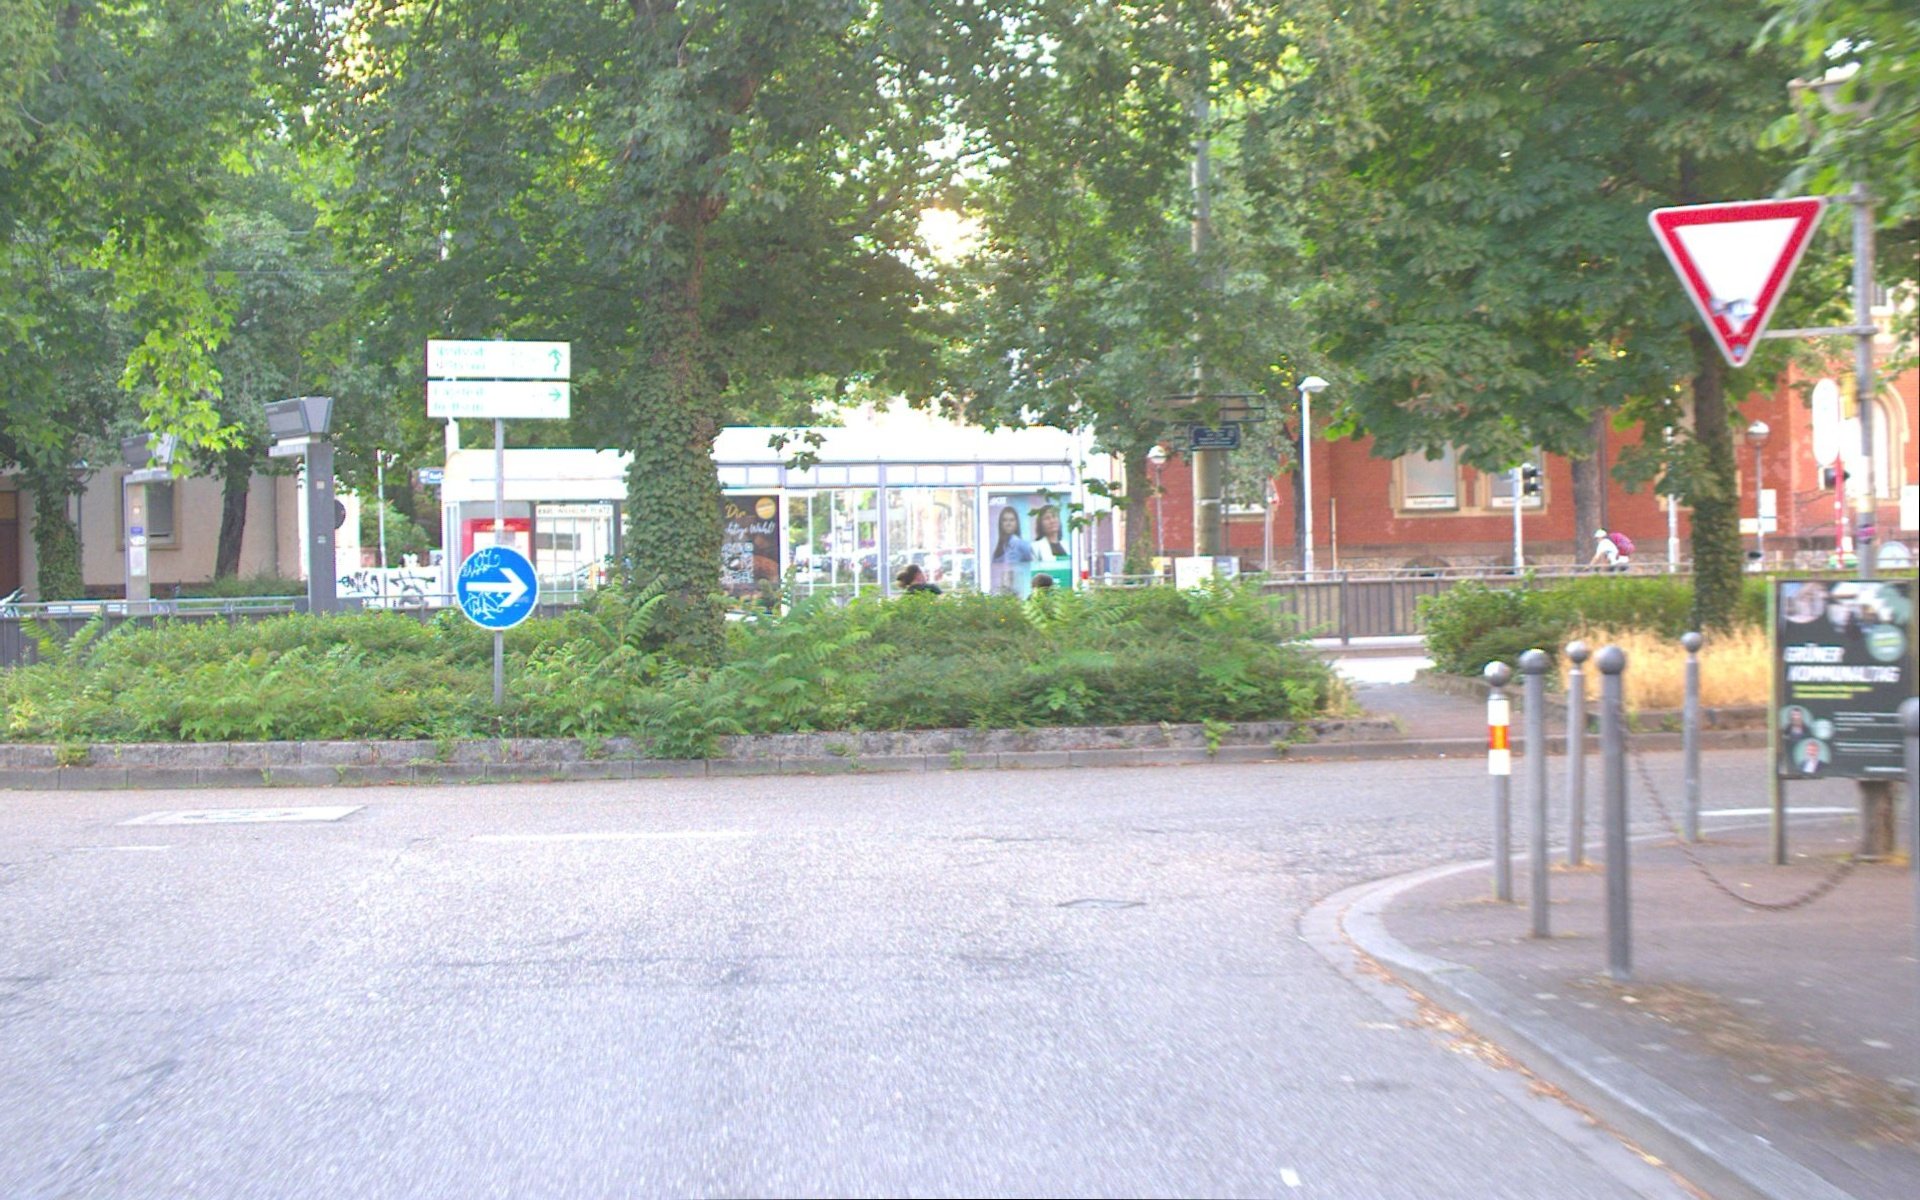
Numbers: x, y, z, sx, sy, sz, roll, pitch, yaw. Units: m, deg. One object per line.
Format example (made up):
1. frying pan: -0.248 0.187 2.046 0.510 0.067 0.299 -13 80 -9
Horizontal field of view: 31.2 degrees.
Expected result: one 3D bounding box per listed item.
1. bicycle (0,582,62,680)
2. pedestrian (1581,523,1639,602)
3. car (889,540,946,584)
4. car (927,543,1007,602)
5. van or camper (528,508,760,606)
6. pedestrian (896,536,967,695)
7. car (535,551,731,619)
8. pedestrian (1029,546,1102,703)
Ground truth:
1. bicycle: -10.840 0.351 37.671 1.849 1.048 0.546 -2 1 -24
2. pedestrian: 12.664 -0.736 66.974 0.866 1.521 0.714 0 1 35
3. car: -1.699 -1.509 136.770 1.993 1.698 4.721 0 1 -4
4. car: 0.182 -0.824 101.226 1.993 1.698 4.721 0 1 -4
5. van or camper: -10.252 -1.375 111.104 7.363 3.072 2.674 0 1 -7
6. pedestrian: -0.265 0.137 31.414 0.616 1.426 0.655 -1 1 -2
7. car: -8.435 -0.399 88.470 4.949 1.698 2.000 0 1 -7
8. pedestrian: 0.975 0.222 31.840 0.616 1.426 0.655 -1 1 -2
